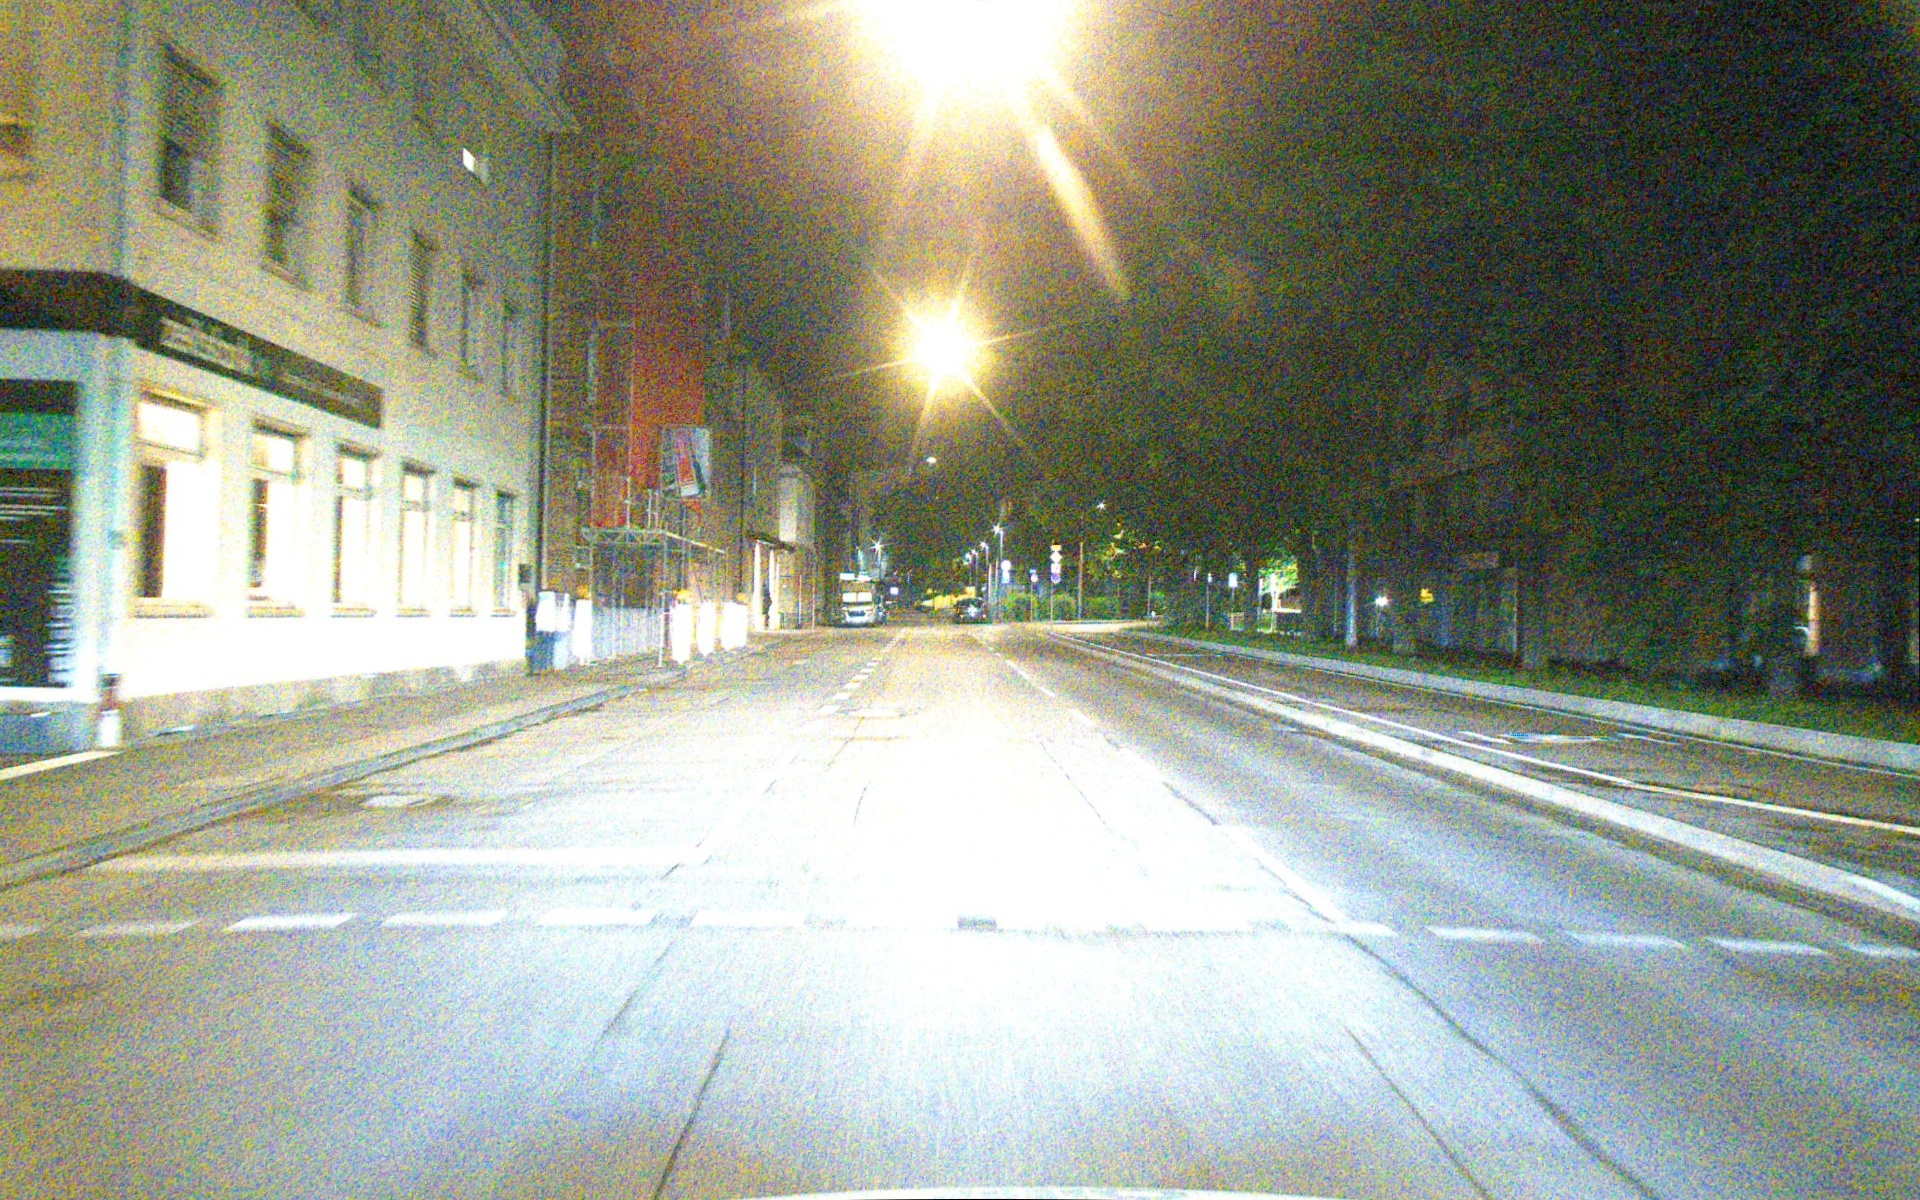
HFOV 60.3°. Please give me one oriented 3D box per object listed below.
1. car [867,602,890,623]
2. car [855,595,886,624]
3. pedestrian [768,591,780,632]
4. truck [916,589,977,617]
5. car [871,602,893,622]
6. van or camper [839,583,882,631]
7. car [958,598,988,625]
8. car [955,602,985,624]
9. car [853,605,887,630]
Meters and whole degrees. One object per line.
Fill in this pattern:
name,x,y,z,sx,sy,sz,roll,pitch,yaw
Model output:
car,-6.260,0.980,127.674,1.670,1.536,4.098,1,-1,-2
car,-6.219,0.680,115.007,1.953,1.989,4.804,0,0,-1
pedestrian,-7.927,0.478,70.541,0.408,1.738,0.440,0,-1,-17
truck,-1.505,0.311,182.133,6.642,2.894,1.998,1,0,-4
car,-6.261,0.976,133.265,1.643,1.594,4.103,0,-1,-1
van or camper,-5.625,0.409,94.030,2.114,2.580,6.224,-2,-1,-2
car,0.860,0.733,104.606,1.845,1.631,4.107,-1,-1,1
car,0.624,0.877,110.041,1.923,1.407,3.999,0,-1,-1
car,-5.729,1.092,104.917,1.804,1.533,4.733,0,0,-8
